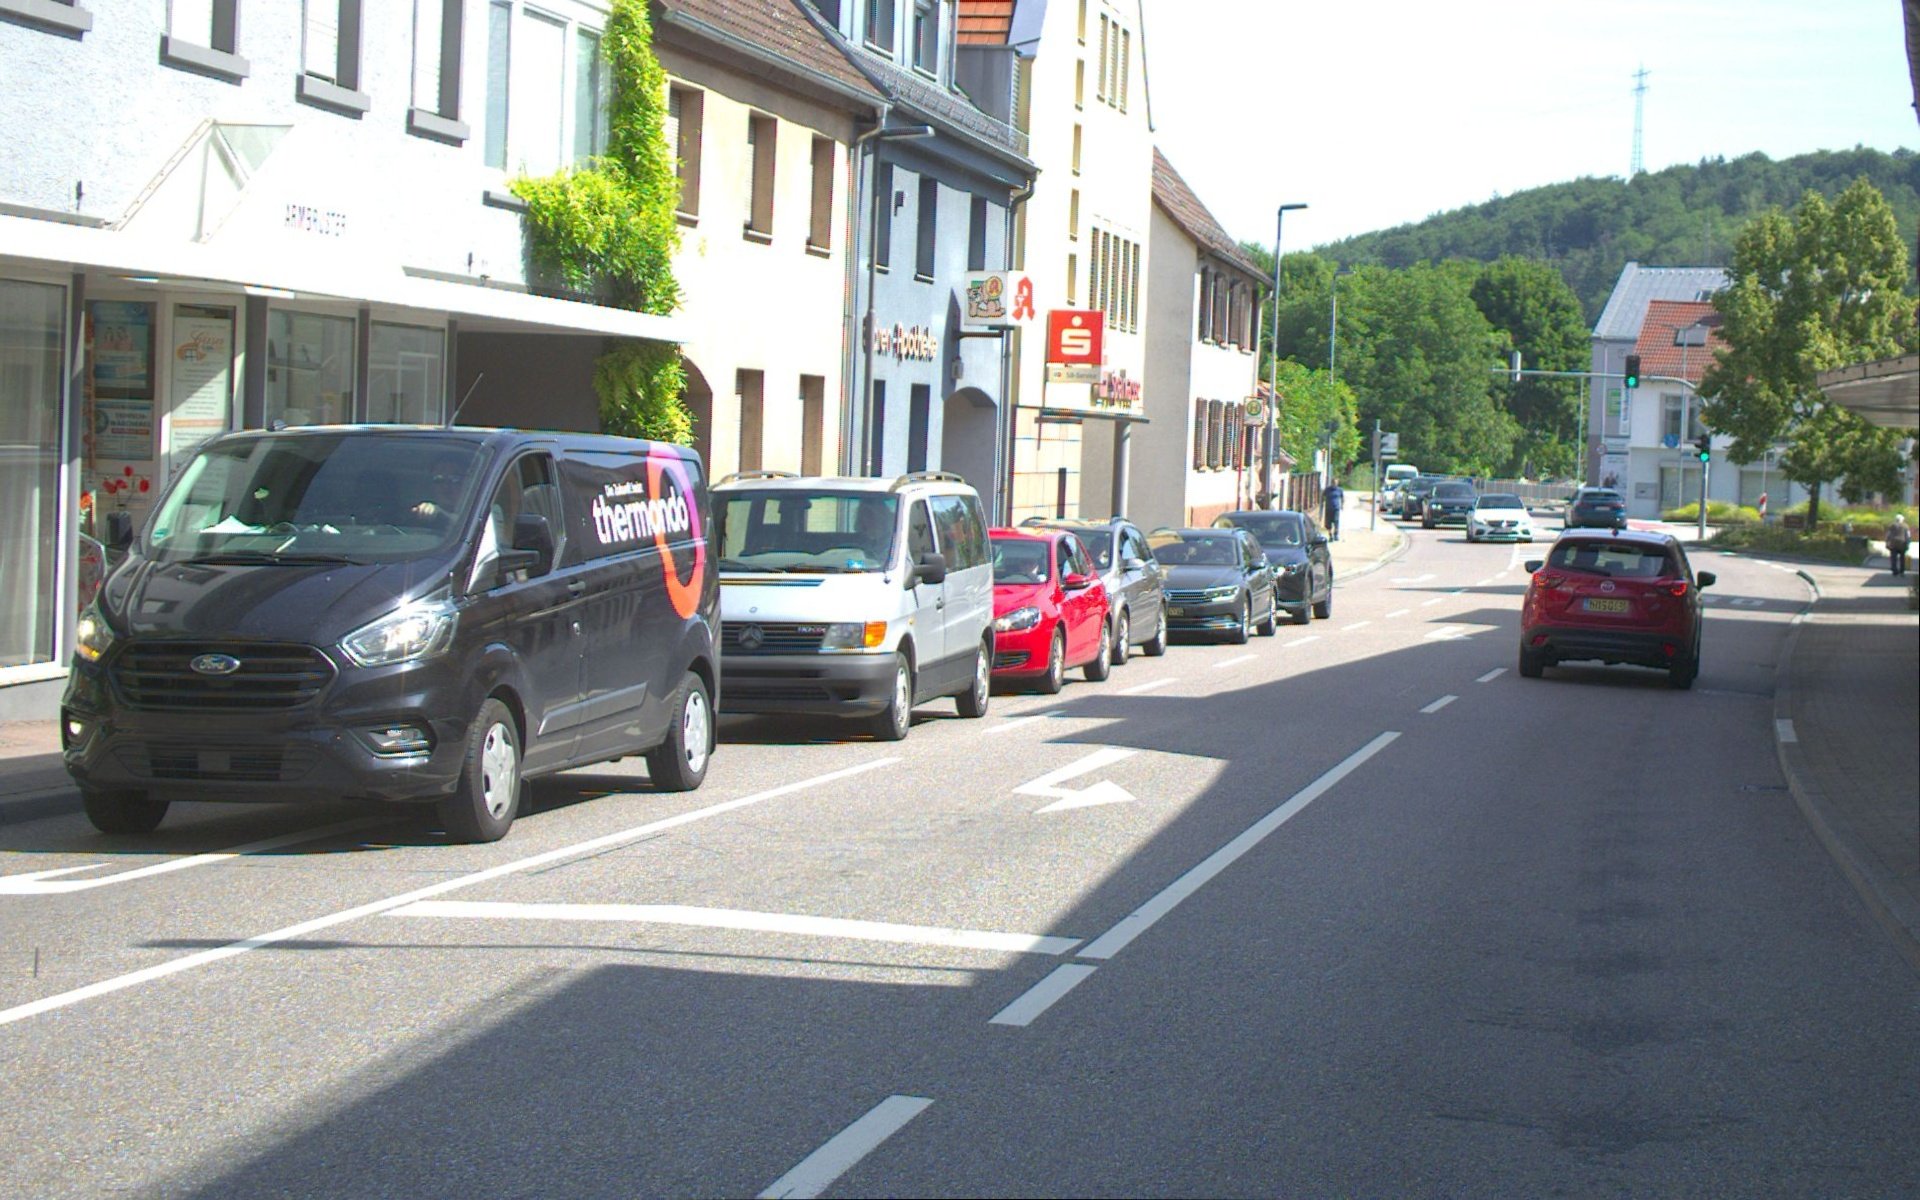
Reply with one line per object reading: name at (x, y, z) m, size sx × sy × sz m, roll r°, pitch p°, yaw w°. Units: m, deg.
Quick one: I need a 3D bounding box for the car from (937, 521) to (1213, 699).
car at (1.129, 0.039, 31.548) m, size 1.760 × 1.487 × 4.074 m, roll 2°, pitch 1°, yaw 13°

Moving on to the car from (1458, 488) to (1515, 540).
car at (19.906, -3.229, 129.865) m, size 1.776 × 1.778 × 3.836 m, roll 2°, pitch 0°, yaw 13°

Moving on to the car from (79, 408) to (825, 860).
car at (-2.339, 0.081, 17.530) m, size 2.160 × 1.916 × 5.163 m, roll 1°, pitch 1°, yaw 11°

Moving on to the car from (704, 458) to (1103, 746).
car at (-0.301, -0.044, 25.222) m, size 1.884 × 1.884 × 4.549 m, roll 1°, pitch 1°, yaw 13°

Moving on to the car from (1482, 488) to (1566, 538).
car at (17.264, -2.642, 105.086) m, size 1.989 × 1.439 × 5.098 m, roll 2°, pitch 2°, yaw 15°

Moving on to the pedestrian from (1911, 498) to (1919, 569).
pedestrian at (23.614, -1.608, 83.857) m, size 0.642 × 1.701 × 0.700 m, roll 2°, pitch 0°, yaw 9°

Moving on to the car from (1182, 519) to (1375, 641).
car at (4.172, -0.294, 44.471) m, size 1.790 × 1.445 × 4.421 m, roll 2°, pitch 1°, yaw 14°

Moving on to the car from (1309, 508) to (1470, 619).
car at (6.589, -0.581, 52.382) m, size 1.868 × 1.584 × 4.515 m, roll 2°, pitch 1°, yaw 14°

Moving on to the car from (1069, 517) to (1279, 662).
car at (2.462, -0.158, 38.729) m, size 1.630 × 1.515 × 4.017 m, roll 2°, pitch 1°, yaw 14°

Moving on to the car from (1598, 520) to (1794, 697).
car at (8.132, 0.031, 37.714) m, size 1.860 × 1.708 × 4.419 m, roll 4°, pitch 2°, yaw 14°

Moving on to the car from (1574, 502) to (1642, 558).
car at (22.720, -2.427, 120.472) m, size 1.934 × 1.788 × 3.953 m, roll 2°, pitch 0°, yaw 15°
